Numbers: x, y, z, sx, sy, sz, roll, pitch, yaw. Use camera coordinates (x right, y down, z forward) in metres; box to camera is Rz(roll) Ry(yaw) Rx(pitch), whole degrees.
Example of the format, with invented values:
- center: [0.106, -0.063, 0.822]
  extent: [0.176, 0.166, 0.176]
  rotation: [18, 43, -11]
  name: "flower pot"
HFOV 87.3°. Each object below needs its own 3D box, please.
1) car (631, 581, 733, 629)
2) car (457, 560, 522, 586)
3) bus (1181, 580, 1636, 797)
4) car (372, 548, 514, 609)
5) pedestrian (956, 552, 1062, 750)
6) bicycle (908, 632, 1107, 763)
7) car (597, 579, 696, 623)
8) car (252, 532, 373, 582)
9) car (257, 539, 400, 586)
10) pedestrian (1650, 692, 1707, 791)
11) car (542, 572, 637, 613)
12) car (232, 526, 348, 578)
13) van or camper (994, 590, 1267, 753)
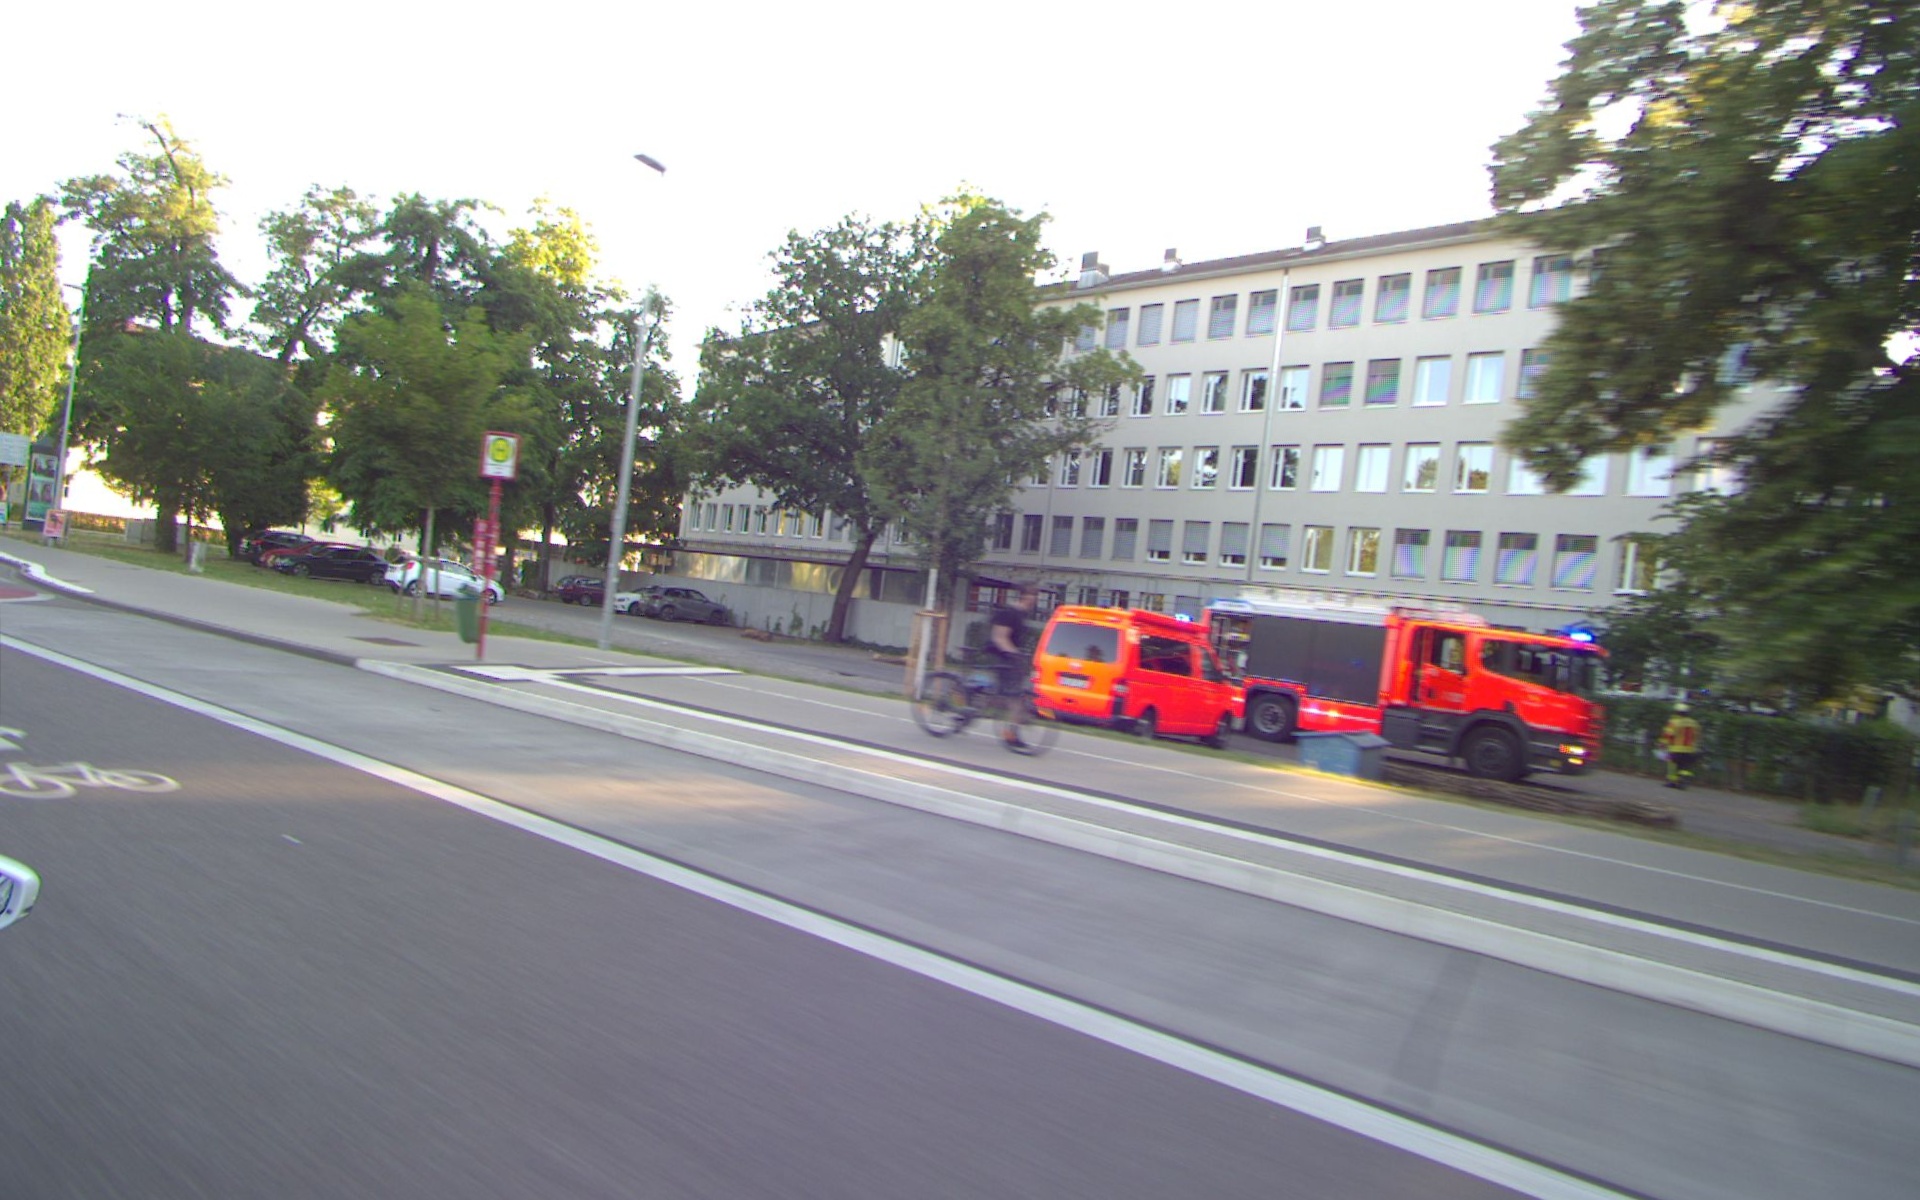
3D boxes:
- center: [-12.704, 0.248, 46.164]
  extent: [1.888, 1.635, 3.982]
  rotation: [5, -3, 43]
  name: "car"
- center: [-35.360, -2.011, 75.699]
  extent: [1.794, 1.358, 3.984]
  rotation: [6, -2, 40]
  name: "car"
- center: [8.994, 1.626, 20.916]
  extent: [7.854, 3.233, 2.985]
  rotation: [6, -2, 42]
  name: "bus"
- center: [-18.469, -0.755, 36.075]
  extent: [1.883, 1.555, 3.989]
  rotation: [6, -2, 38]
  name: "car"
- center: [0.545, 0.553, 11.015]
  extent: [0.684, 2.039, 0.724]
  rotation: [7, 1, 31]
  name: "pedestrian"
- center: [0.503, 1.024, 11.029]
  extent: [1.936, 1.111, 0.831]
  rotation: [7, 1, 32]
  name: "bicycle"
- center: [-14.768, 0.068, 47.475]
  extent: [1.808, 1.492, 3.984]
  rotation: [6, -3, 41]
  name: "car"
- center: [-28.180, -1.872, 43.858]
  extent: [1.760, 1.580, 3.983]
  rotation: [6, -1, 41]
  name: "car"
- center: [-25.965, -1.508, 41.508]
  extent: [1.872, 1.466, 4.567]
  rotation: [4, -1, 37]
  name: "car"
- center: [15.785, 3.094, 22.117]
  extent: [0.770, 2.037, 0.762]
  rotation: [7, -1, 31]
  name: "pedestrian"
- center: [-18.788, -0.355, 51.141]
  extent: [1.875, 1.458, 3.987]
  rotation: [6, -3, 39]
  name: "car"
- center: [-30.442, -2.152, 45.758]
  extent: [1.809, 1.713, 3.898]
  rotation: [6, -2, 38]
  name: "car"
- center: [3.115, 1.324, 17.549]
  extent: [2.264, 2.270, 4.808]
  rotation: [6, -2, 42]
  name: "van or camper"
